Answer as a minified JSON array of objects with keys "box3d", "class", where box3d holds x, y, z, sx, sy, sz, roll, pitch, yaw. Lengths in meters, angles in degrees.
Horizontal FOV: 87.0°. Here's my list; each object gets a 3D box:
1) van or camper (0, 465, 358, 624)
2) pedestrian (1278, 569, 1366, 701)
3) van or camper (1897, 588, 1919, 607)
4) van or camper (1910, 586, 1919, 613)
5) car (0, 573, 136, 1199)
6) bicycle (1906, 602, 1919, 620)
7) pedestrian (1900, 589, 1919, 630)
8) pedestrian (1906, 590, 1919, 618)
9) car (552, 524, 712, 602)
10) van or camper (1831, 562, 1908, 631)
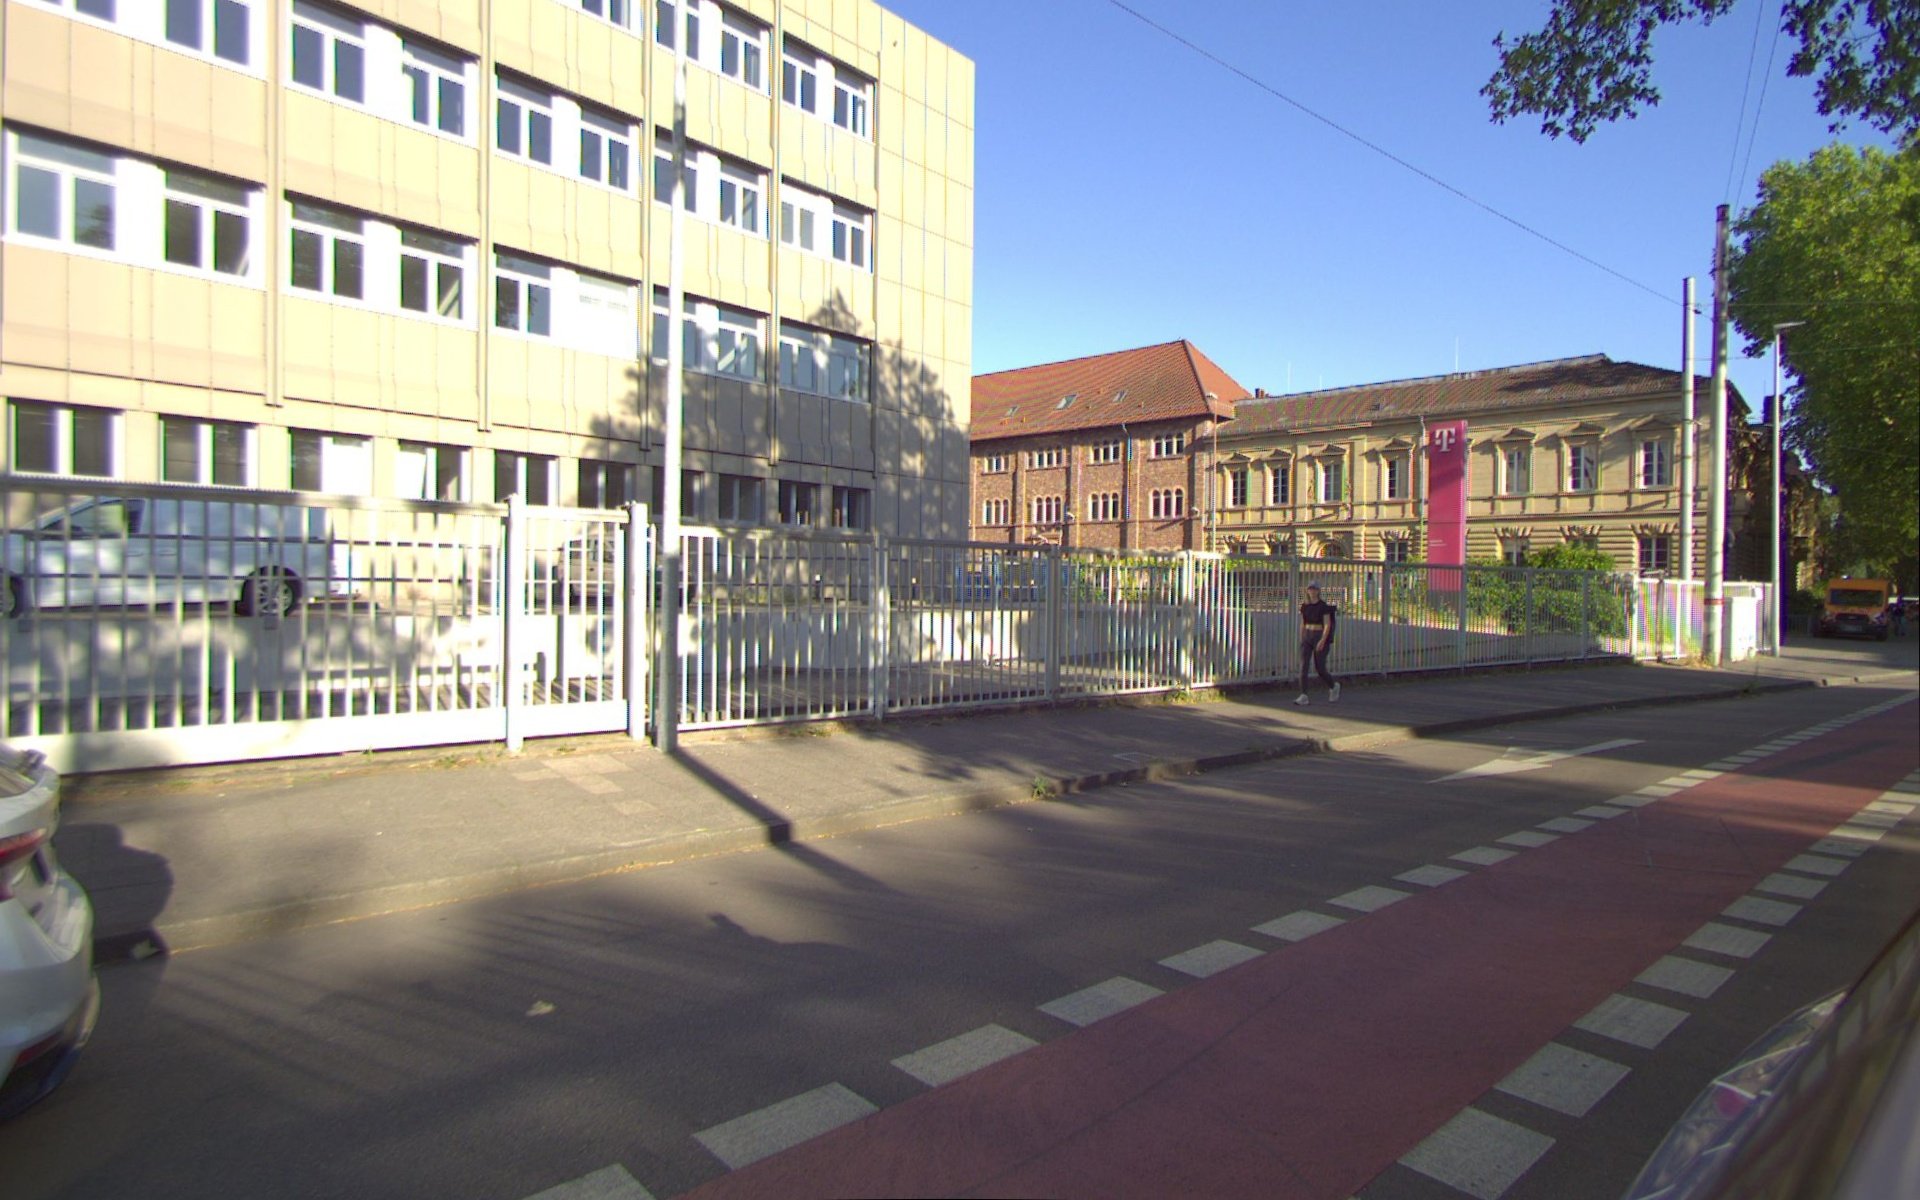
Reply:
[{"box3d":[-11.401,-0.708,14.017,1.980,1.932,4.923,2,2,42],"class":"van or camper"},{"box3d":[4.863,0.440,13.592,0.913,1.705,0.698,0,1,-37],"class":"pedestrian"},{"box3d":[133.936,-0.310,140.105,6.084,2.461,2.390,2,1,44],"class":"van or camper"},{"box3d":[94.314,0.004,96.038,5.908,2.528,2.189,2,4,42],"class":"van or camper"},{"box3d":[-4.085,0.709,1.840,3.914,1.520,1.803,0,0,-43],"class":"car"},{"box3d":[58.949,0.655,62.504,0.674,1.044,1.872,4,3,41],"class":"bicycle"},{"box3d":[42.411,0.417,45.162,0.650,1.758,0.992,1,1,43],"class":"pedestrian"},{"box3d":[58.949,0.237,62.487,0.669,1.639,1.086,4,3,41],"class":"pedestrian"},{"box3d":[-8.145,-0.883,24.923,4.251,1.739,1.962,2,1,43],"class":"car"},{"box3d":[36.891,-0.160,40.998,2.037,2.591,5.680,1,1,45],"class":"van or camper"}]
